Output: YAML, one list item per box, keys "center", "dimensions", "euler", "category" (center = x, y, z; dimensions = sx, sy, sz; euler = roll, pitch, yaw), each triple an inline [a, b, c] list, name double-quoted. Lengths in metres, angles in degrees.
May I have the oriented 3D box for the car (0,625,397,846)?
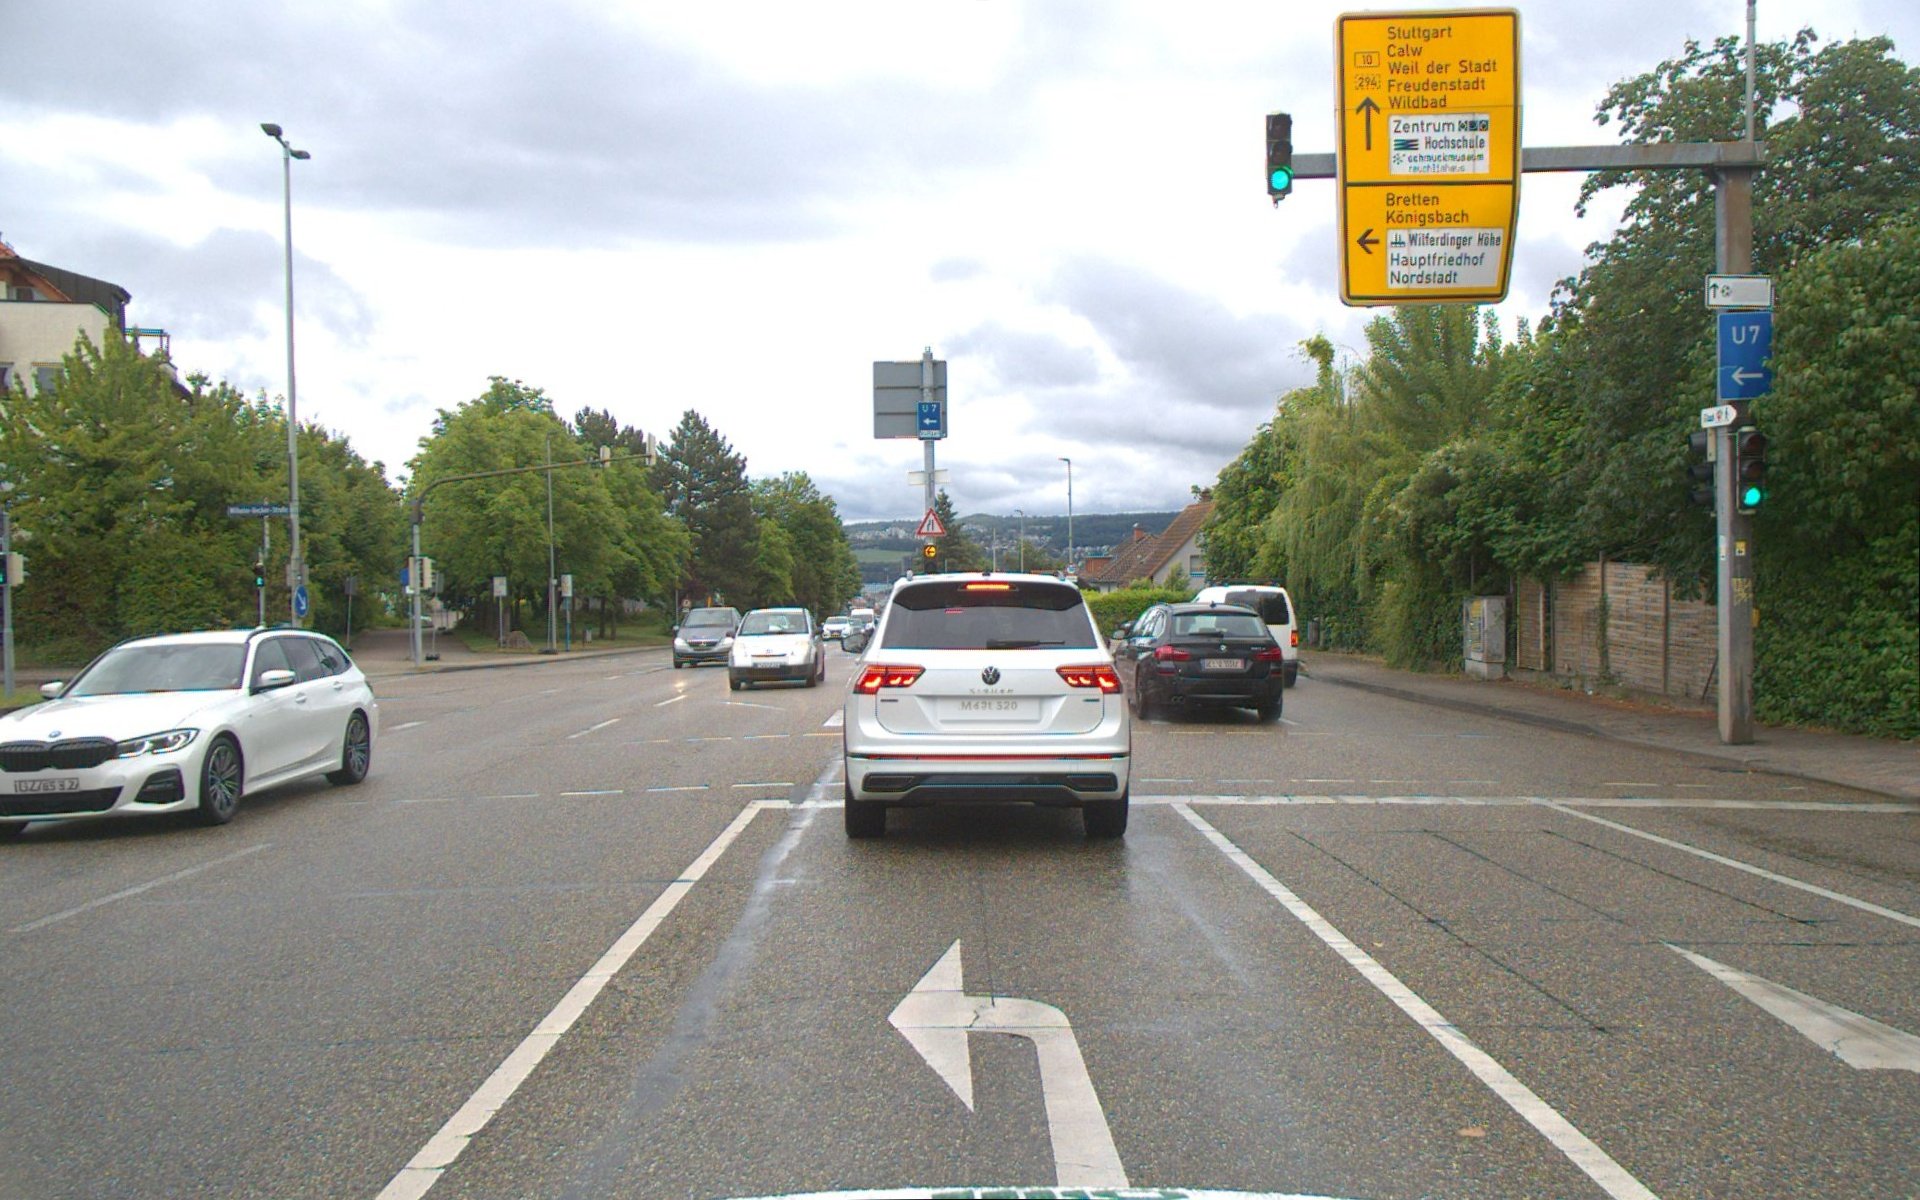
- center: [-6.307, 0.980, 13.757]
  dimensions: [1.739, 1.409, 4.548]
  euler: [-2, 0, -1]
  category: "car"

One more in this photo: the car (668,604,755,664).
- center: [-6.803, 0.895, 45.712]
  dimensions: [1.738, 1.484, 4.548]
  euler: [-2, 0, -1]
  category: "car"

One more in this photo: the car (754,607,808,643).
- center: [-6.943, 0.942, 64.348]
  dimensions: [1.616, 1.295, 3.621]
  euler: [-1, 0, 1]
  category: "car"

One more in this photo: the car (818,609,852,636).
- center: [-7.483, 1.315, 99.444]
  dimensions: [1.738, 1.484, 4.185]
  euler: [-2, 0, -1]
  category: "car"

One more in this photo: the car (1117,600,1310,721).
- center: [3.258, 0.792, 22.017]
  dimensions: [1.860, 1.467, 3.998]
  euler: [0, -2, -2]
  category: "car"

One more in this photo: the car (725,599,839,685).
- center: [-3.370, 0.753, 32.067]
  dimensions: [1.738, 1.484, 4.548]
  euler: [-2, 0, -1]
  category: "car"

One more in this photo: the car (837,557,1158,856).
- center: [0.185, 0.612, 11.442]
  dimensions: [1.831, 1.703, 3.999]
  euler: [0, 0, -1]
  category: "car"

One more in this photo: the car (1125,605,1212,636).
- center: [9.675, 0.940, 77.090]
  dimensions: [3.904, 1.400, 1.586]
  euler: [1, 0, 2]
  category: "car"

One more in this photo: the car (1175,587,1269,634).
- center: [11.429, 0.469, 72.243]
  dimensions: [3.904, 1.990, 1.586]
  euler: [0, 0, 2]
  category: "car"

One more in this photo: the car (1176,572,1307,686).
- center: [5.250, 0.490, 31.272]
  dimensions: [1.729, 1.909, 3.805]
  euler: [0, 3, -2]
  category: "car"
